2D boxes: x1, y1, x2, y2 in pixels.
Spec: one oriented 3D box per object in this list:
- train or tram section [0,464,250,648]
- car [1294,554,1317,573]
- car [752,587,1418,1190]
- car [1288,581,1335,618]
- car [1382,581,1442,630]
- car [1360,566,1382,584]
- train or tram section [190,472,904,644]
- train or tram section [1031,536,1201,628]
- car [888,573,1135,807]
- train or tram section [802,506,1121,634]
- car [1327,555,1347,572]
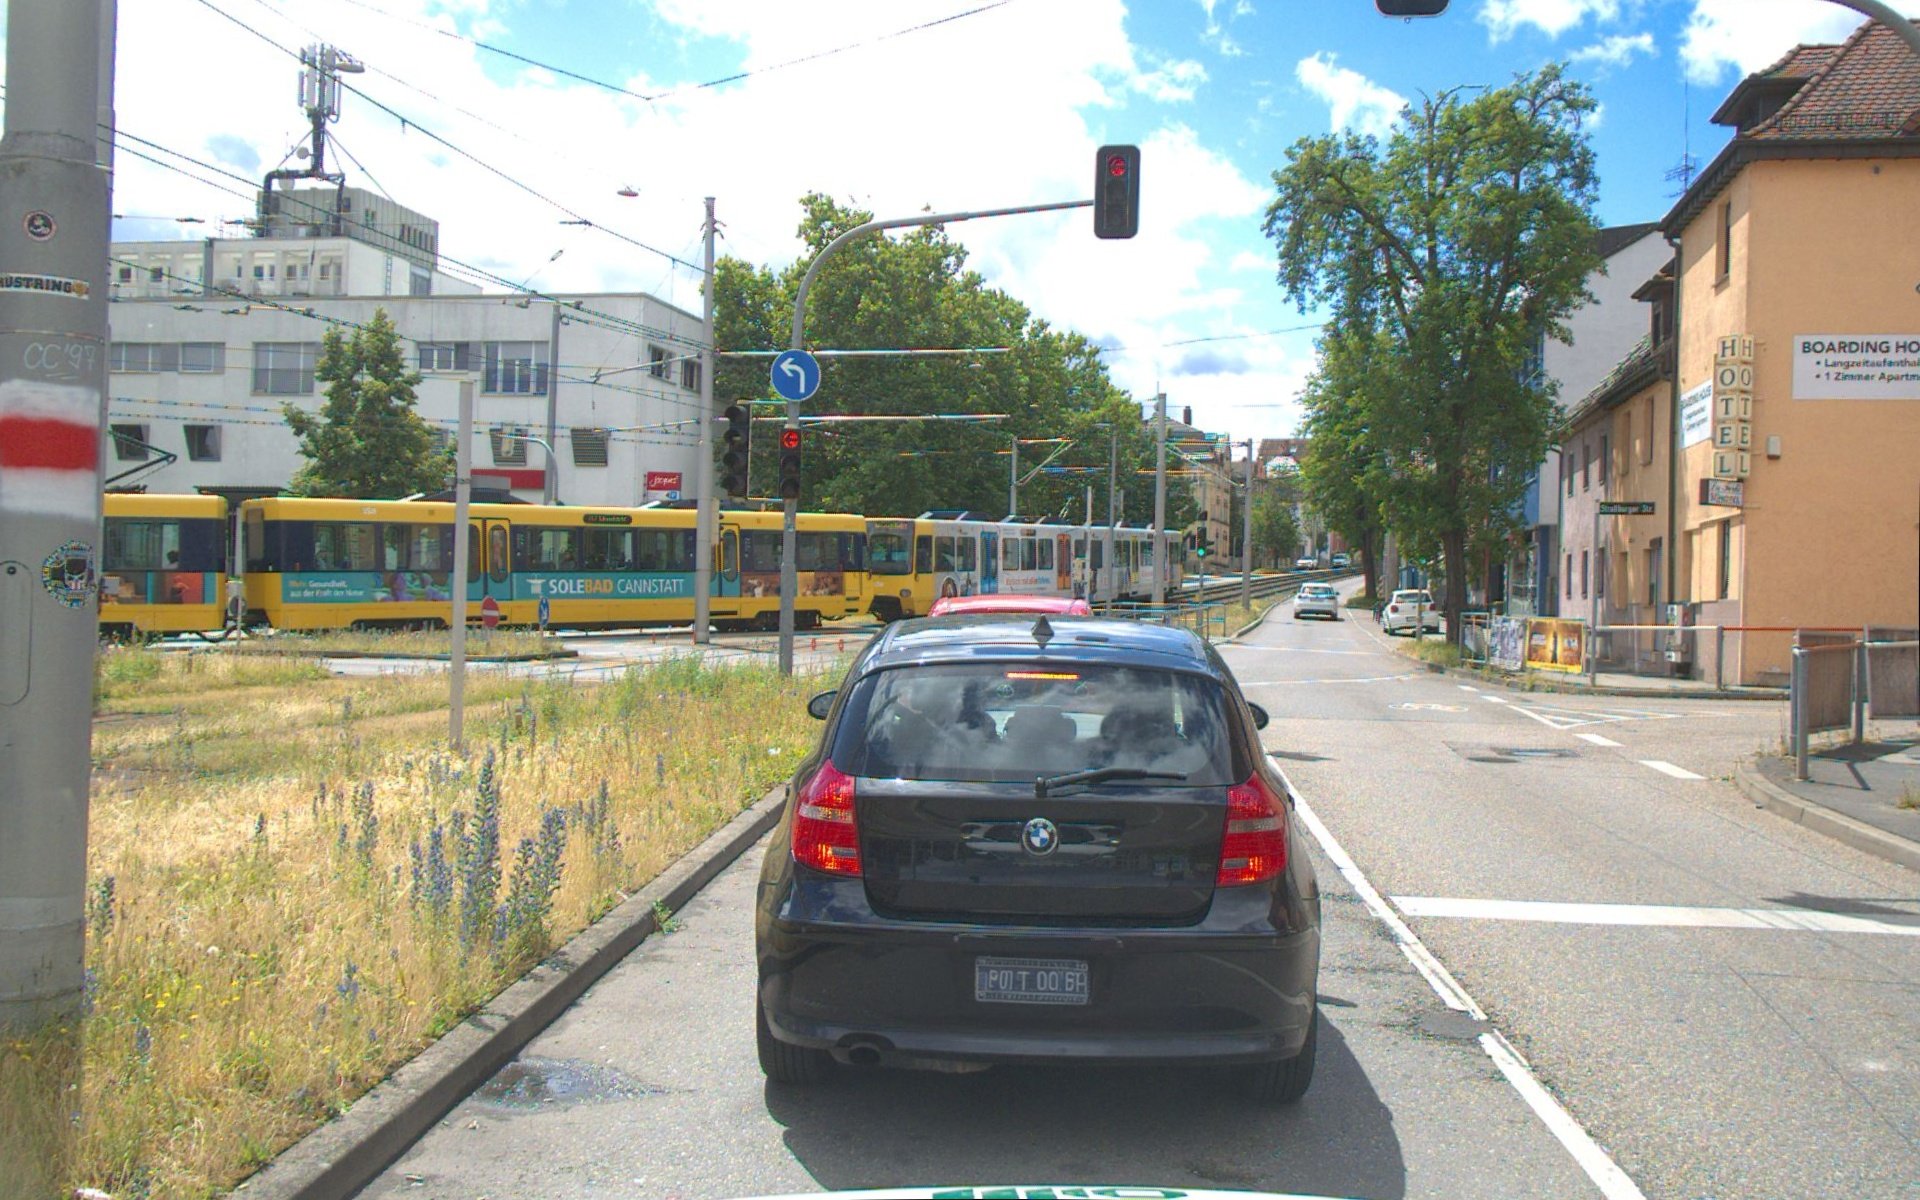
[{"bbox_3d":[-25.557,-0.931,35.825,18.571,3.988,3.736,0,-1,-22],"label":"train or tram section"},{"bbox_3d":[39.416,-4.165,188.395,1.952,2.049,4.000,-1,-1,21],"label":"car"},{"bbox_3d":[0.218,0.732,6.133,1.667,1.477,3.997,0,-1,-3],"label":"car"},{"bbox_3d":[14.854,-0.039,70.019,1.776,1.494,4.004,0,0,9],"label":"car"},{"bbox_3d":[15.320,0.199,56.192,1.749,1.624,4.003,0,-1,12],"label":"car"},{"bbox_3d":[36.849,-2.220,148.459,1.777,1.494,4.003,3,1,13],"label":"car"},{"bbox_3d":[-10.237,-0.908,45.751,19.986,3.896,3.702,0,-1,-43],"label":"train or tram section"},{"bbox_3d":[7.946,-0.670,79.604,3.671,3.881,20.058,-1,-1,18],"label":"train or tram section"},{"bbox_3d":[0.521,0.603,12.673,1.590,1.499,4.002,0,-1,6],"label":"car"},{"bbox_3d":[0.890,-0.838,61.372,3.674,3.947,20.622,-1,-1,24],"label":"train or tram section"},{"bbox_3d":[47.419,-4.596,207.821,1.952,2.049,4.000,-1,-1,21],"label":"car"}]
